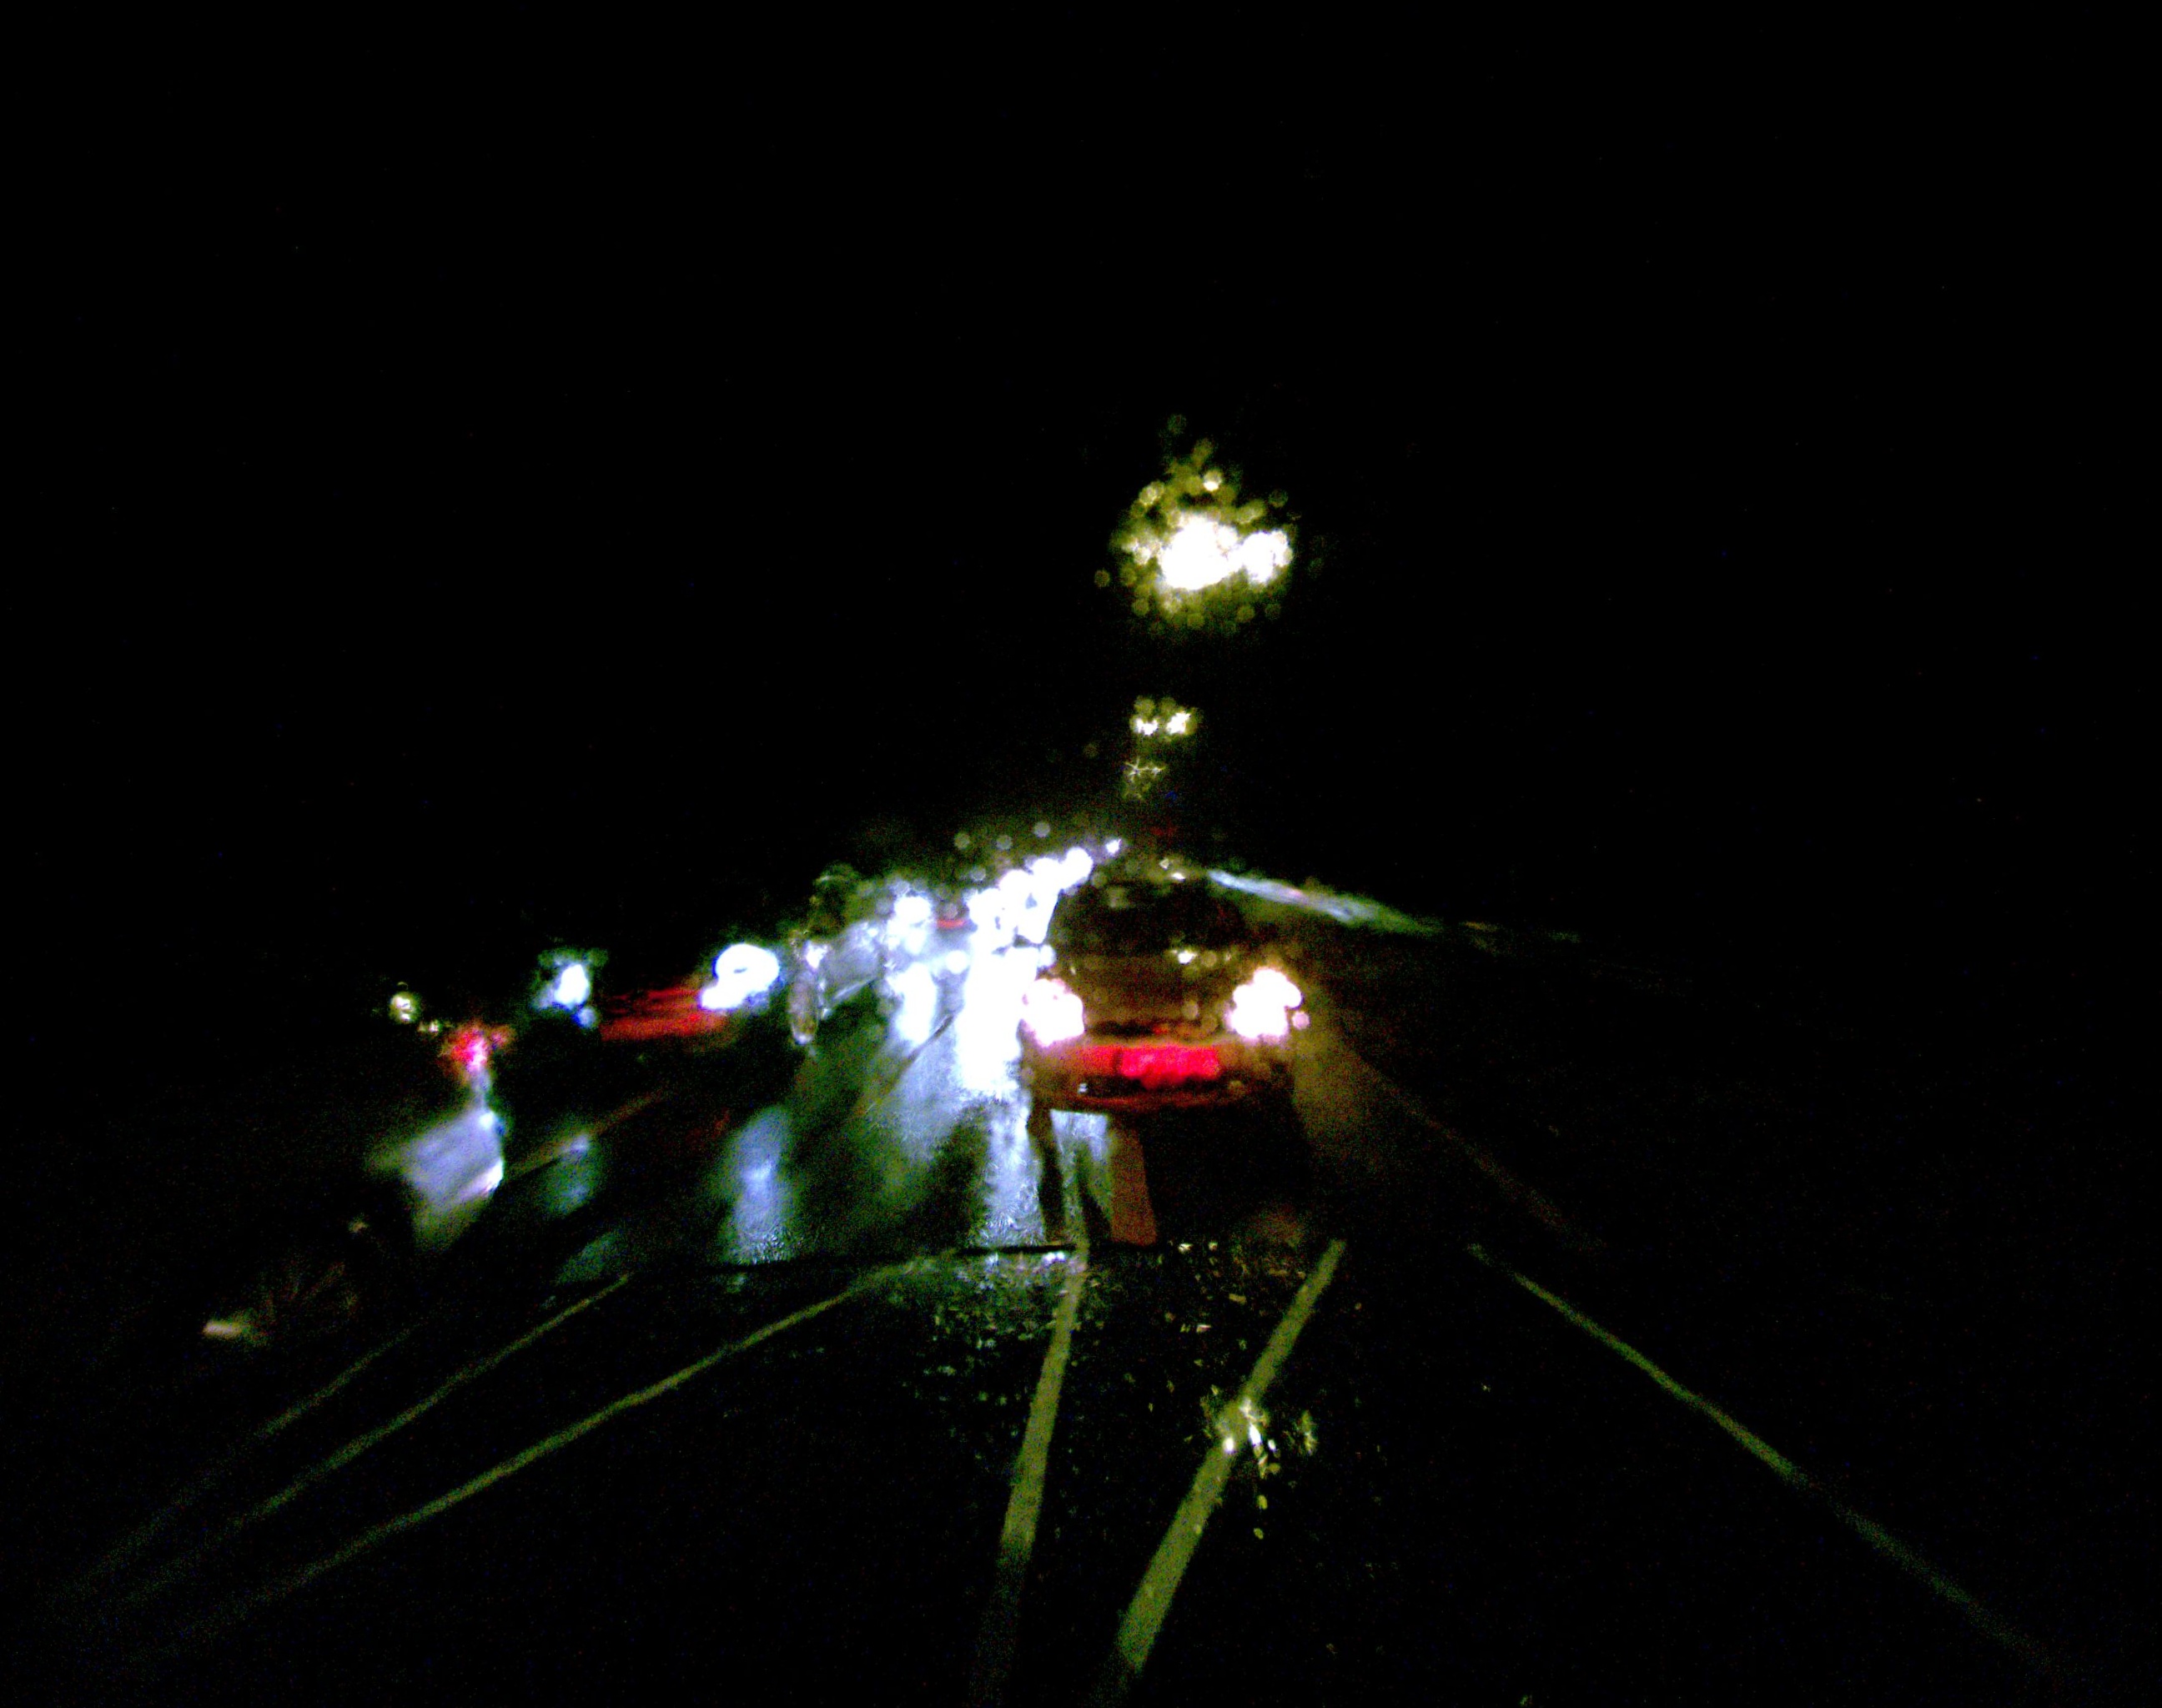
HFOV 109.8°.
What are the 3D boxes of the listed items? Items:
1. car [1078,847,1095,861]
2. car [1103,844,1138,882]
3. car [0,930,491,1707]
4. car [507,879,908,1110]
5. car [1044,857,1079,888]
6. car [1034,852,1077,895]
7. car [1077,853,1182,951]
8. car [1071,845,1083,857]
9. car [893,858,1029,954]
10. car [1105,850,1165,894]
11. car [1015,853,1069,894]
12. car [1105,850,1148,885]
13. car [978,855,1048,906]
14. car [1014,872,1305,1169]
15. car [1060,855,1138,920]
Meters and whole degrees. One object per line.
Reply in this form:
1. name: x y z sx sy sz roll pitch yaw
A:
1. car: 0.715 -0.011 90.240 1.869 1.654 4.000 -1 0 2
2. car: 2.222 0.479 43.899 1.801 2.002 3.999 -2 1 1
3. car: -3.054 1.083 0.516 1.711 1.513 4.414 -2 1 1
4. car: -3.137 1.079 7.489 1.743 1.409 4.140 -2 1 2
5. car: -1.189 1.103 47.780 1.998 1.789 4.000 -1 0 1
6. car: -1.286 0.960 39.660 1.998 2.002 3.999 -2 1 1
7. car: 0.813 0.776 13.973 1.606 1.417 3.389 -4 1 1
8. car: -0.604 -0.481 129.697 1.998 2.002 3.999 -1 1 0
9. car: -2.265 0.926 15.557 1.998 1.589 4.391 -1 1 1
10. car: 1.980 0.628 28.994 1.998 1.497 3.999 -2 1 1
11. car: -1.619 0.783 32.993 1.998 1.589 4.391 -1 1 1
12. car: 2.242 0.638 38.385 1.998 1.574 4.000 -2 1 2
13. car: -2.305 0.867 26.843 1.998 1.589 4.391 -1 1 1
14. car: 0.443 0.939 5.775 1.497 1.416 3.389 -3 1 1
15. car: 0.472 0.835 20.680 1.838 1.417 3.698 -4 1 1
